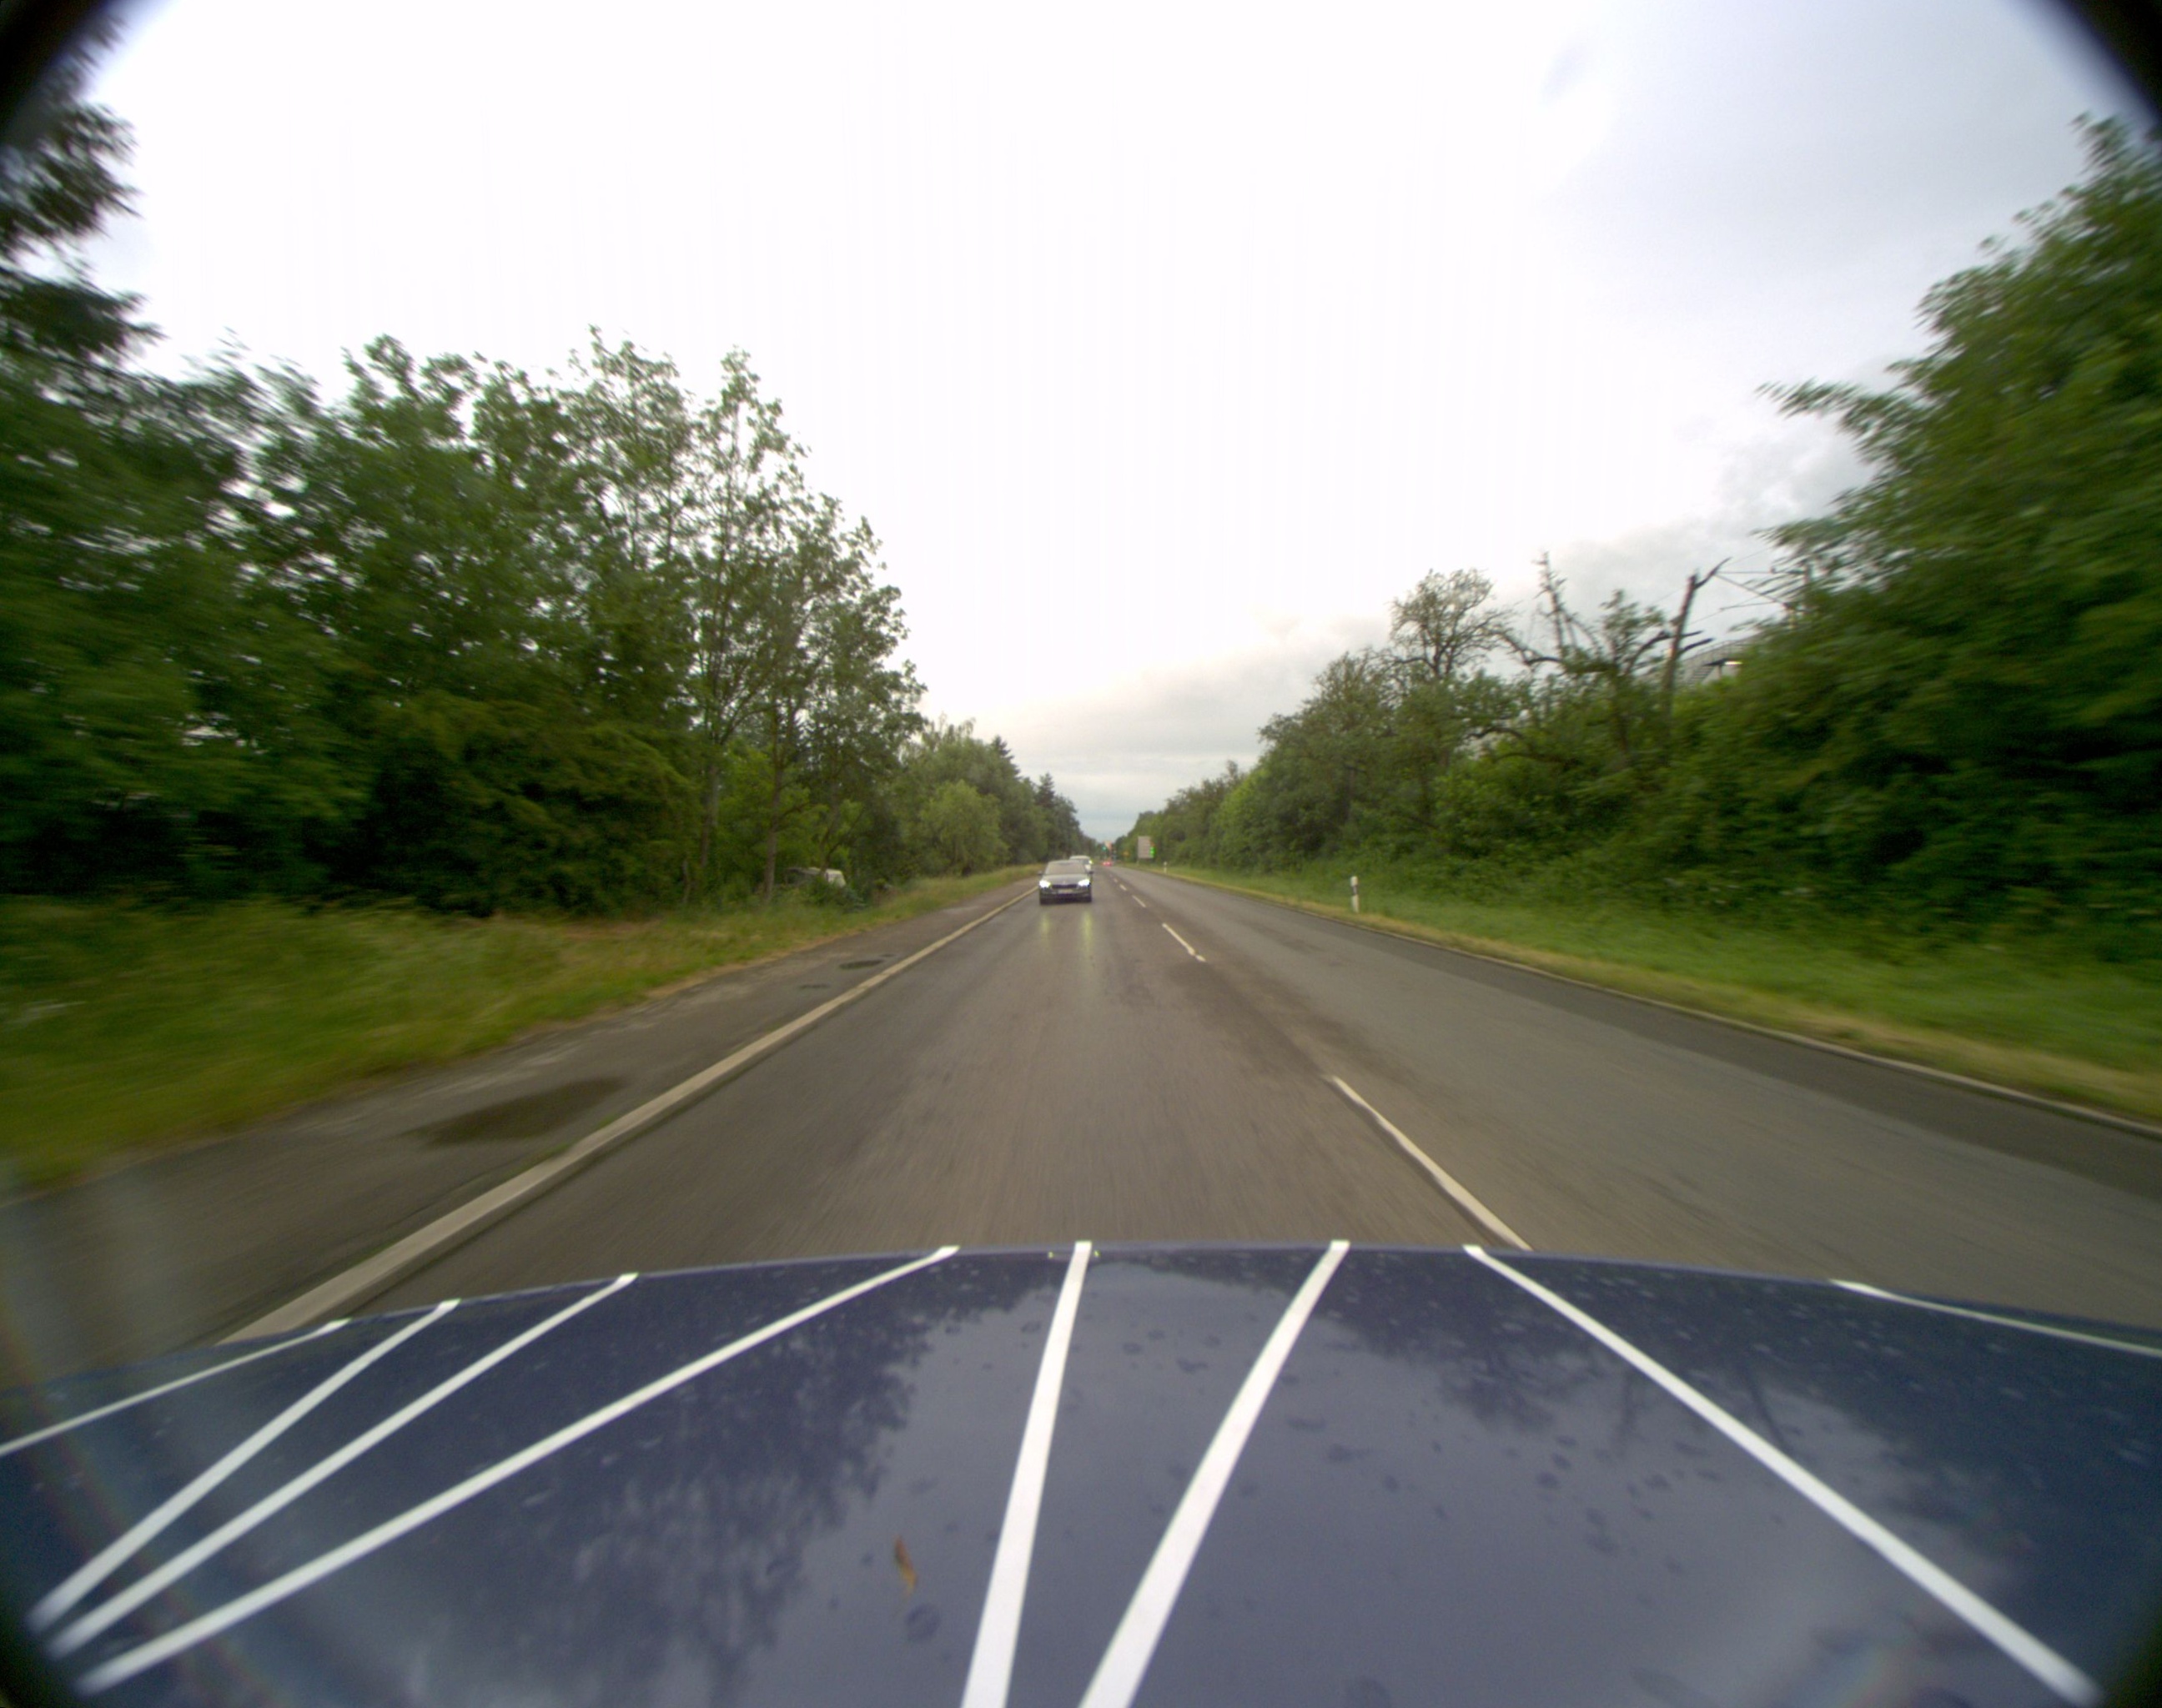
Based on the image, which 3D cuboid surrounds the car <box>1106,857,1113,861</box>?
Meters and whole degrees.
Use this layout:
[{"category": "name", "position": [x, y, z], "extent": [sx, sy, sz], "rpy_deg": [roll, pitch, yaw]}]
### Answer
[{"category": "car", "position": [8.771, 1.472, 236.321], "extent": [1.896, 1.346, 4.382], "rpy_deg": [-1, 0, 0]}]

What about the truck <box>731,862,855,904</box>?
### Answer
[{"category": "truck", "position": [-17.706, 1.764, 46.801], "extent": [7.056, 2.345, 2.068], "rpy_deg": [-1, 0, 10]}]

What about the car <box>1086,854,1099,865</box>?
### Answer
[{"category": "car", "position": [1.820, 0.817, 118.816], "extent": [1.856, 1.686, 4.000], "rpy_deg": [0, 0, 2]}]

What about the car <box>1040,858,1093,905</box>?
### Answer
[{"category": "car", "position": [-0.445, 0.931, 27.175], "extent": [1.675, 1.477, 4.215], "rpy_deg": [-3, -1, 1]}]

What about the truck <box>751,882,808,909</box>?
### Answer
[{"category": "truck", "position": [-17.026, 2.317, 43.003], "extent": [2.357, 1.389, 1.760], "rpy_deg": [-1, 0, 13]}]

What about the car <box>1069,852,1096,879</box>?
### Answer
[{"category": "car", "position": [0.116, 0.738, 50.901], "extent": [1.704, 1.724, 3.999], "rpy_deg": [-1, 0, 0]}]
